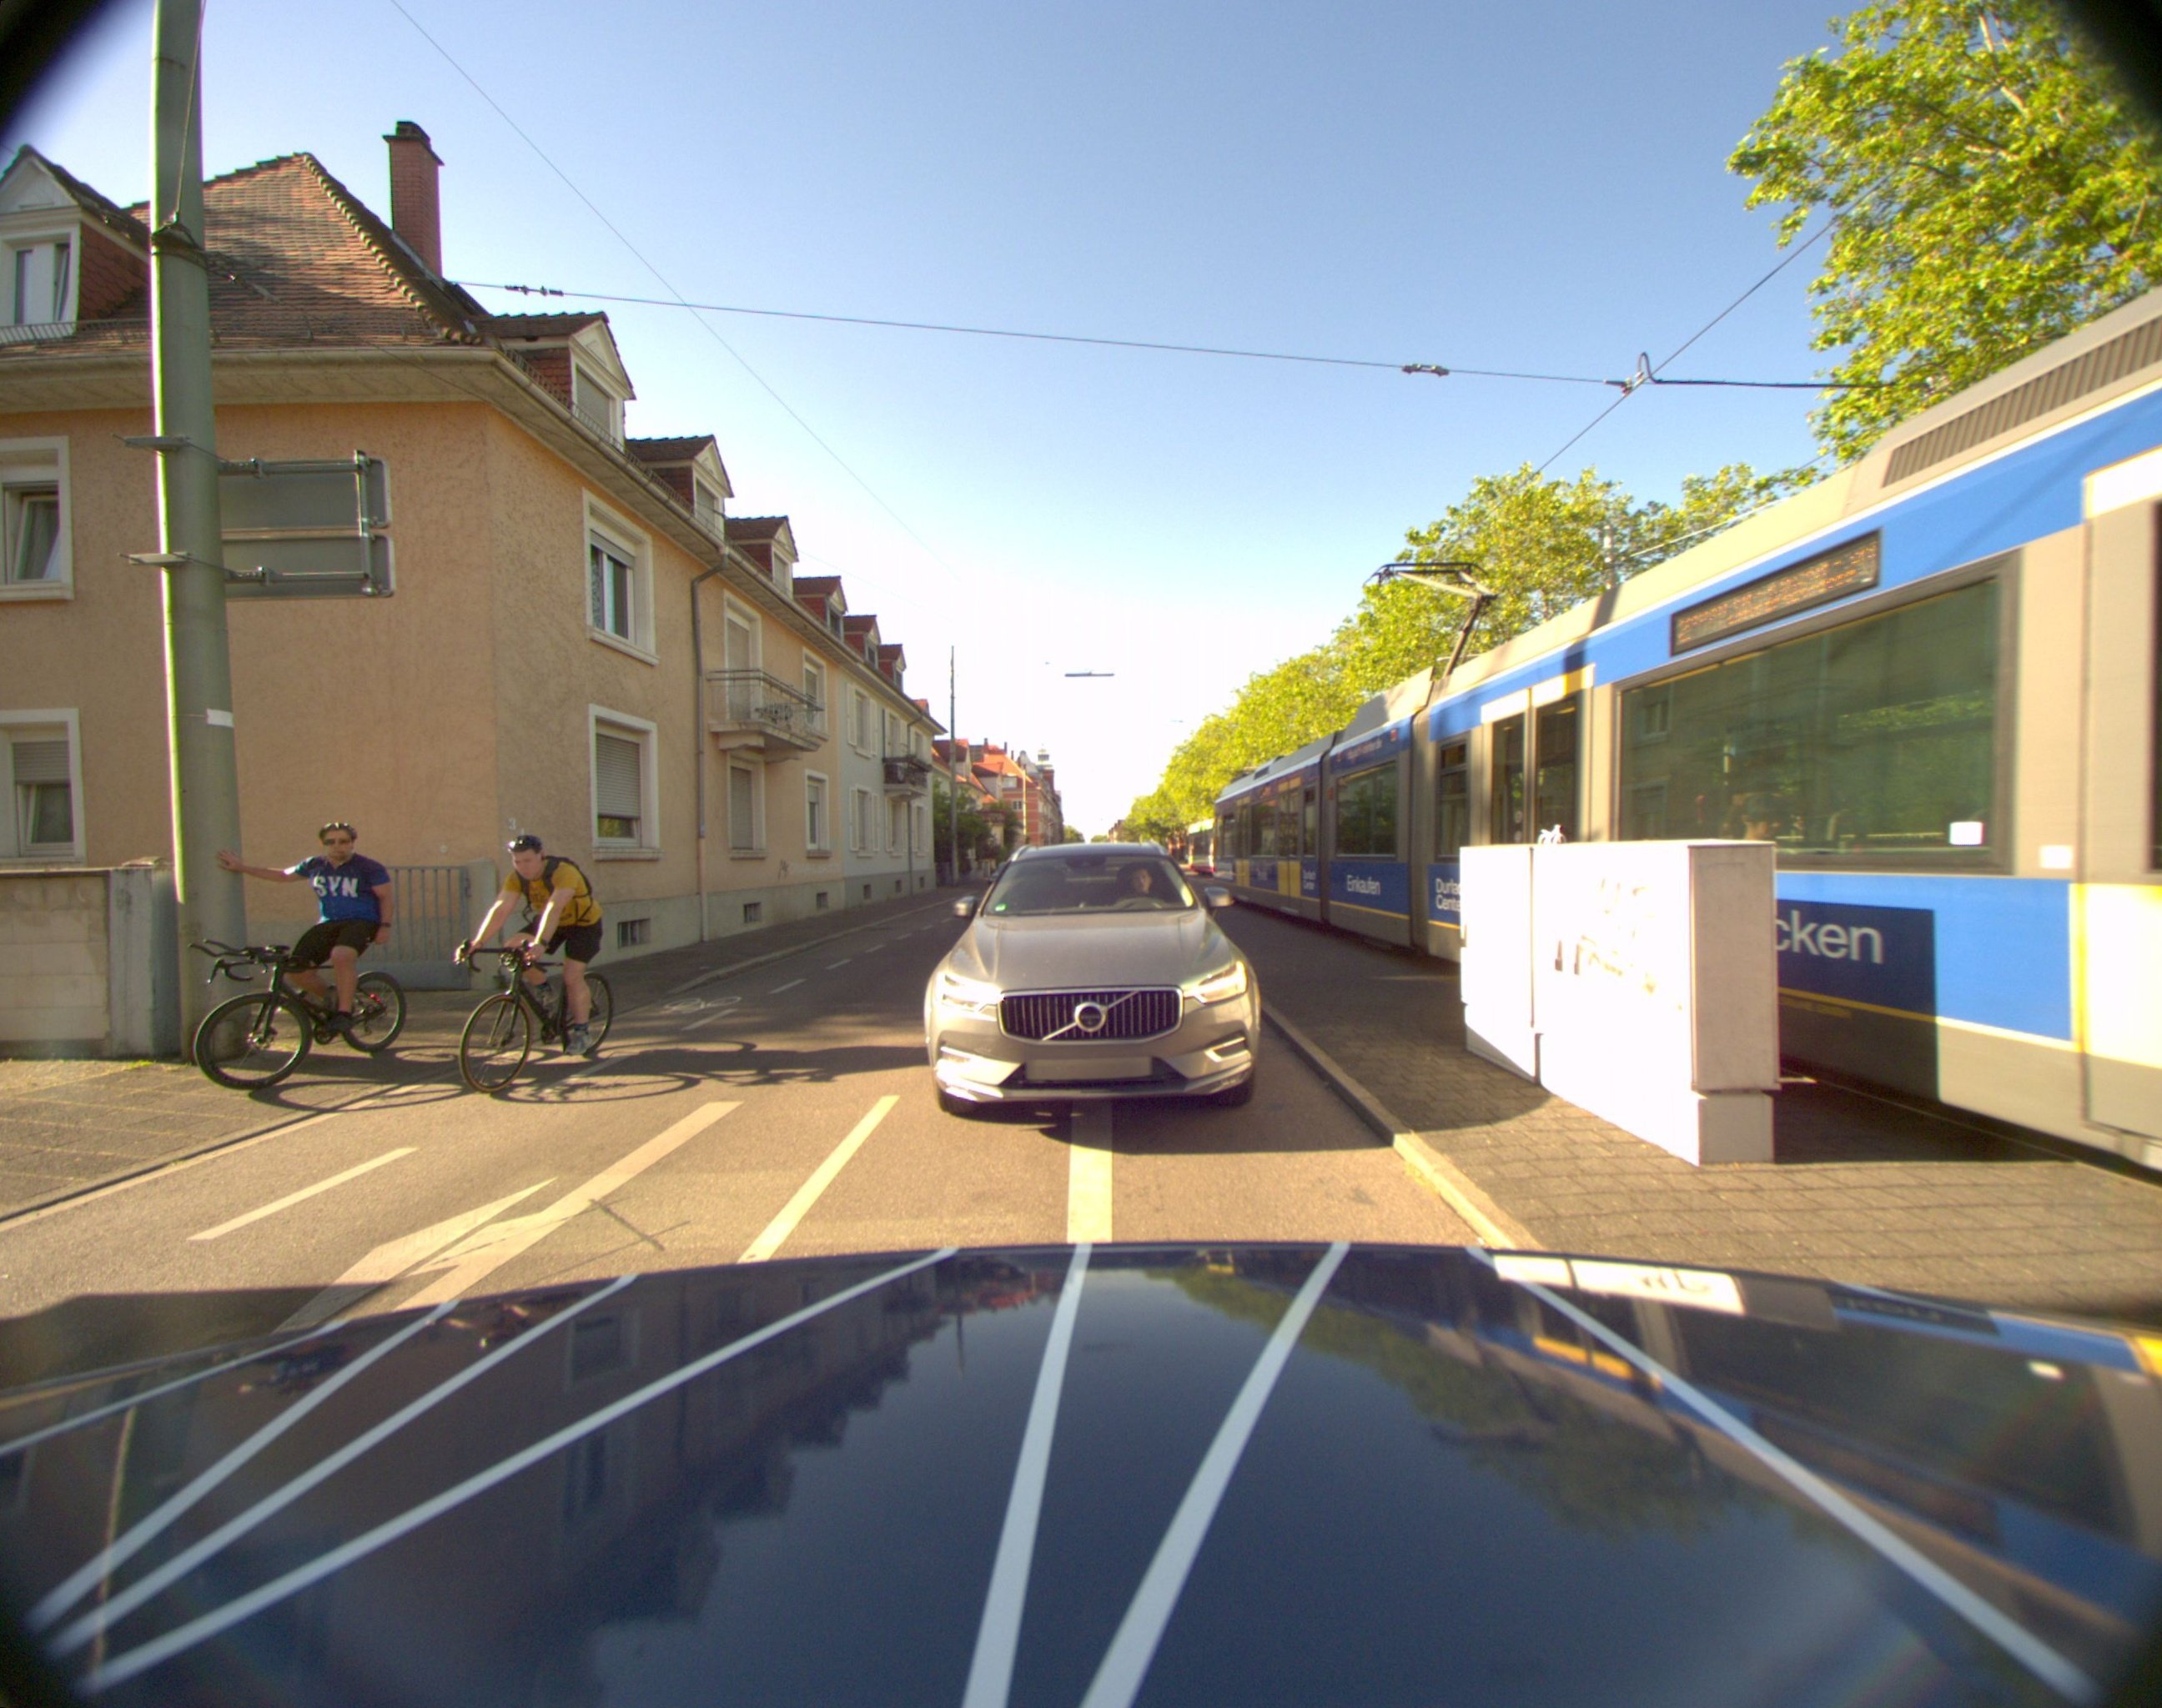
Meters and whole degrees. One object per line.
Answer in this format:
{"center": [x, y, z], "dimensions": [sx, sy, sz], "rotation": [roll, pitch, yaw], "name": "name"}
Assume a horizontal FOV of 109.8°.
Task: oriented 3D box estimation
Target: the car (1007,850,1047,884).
{"center": [-2.960, 0.684, 42.380], "dimensions": [1.847, 1.742, 4.144], "rotation": [-1, 0, 0], "name": "car"}

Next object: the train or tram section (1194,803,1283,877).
{"center": [8.380, -0.726, 41.786], "dimensions": [2.843, 3.456, 10.182], "rotation": [-2, 1, 1], "name": "train or tram section"}

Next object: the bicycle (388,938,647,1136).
{"center": [-4.207, 1.302, 5.881], "dimensions": [0.611, 1.081, 1.809], "rotation": [-1, 1, 1], "name": "bicycle"}

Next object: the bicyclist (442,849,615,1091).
{"center": [-4.216, 0.825, 5.872], "dimensions": [0.582, 1.712, 0.955], "rotation": [-1, 1, 1], "name": "bicyclist"}

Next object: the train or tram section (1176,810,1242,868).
{"center": [8.569, -0.973, 52.011], "dimensions": [2.843, 3.456, 10.182], "rotation": [-2, 1, 1], "name": "train or tram section"}

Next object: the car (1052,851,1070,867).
{"center": [-2.240, 0.549, 85.487], "dimensions": [1.999, 1.641, 4.658], "rotation": [-1, 0, -1], "name": "car"}

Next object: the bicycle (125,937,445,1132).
{"center": [-5.930, 1.276, 5.831], "dimensions": [0.594, 1.045, 1.719], "rotation": [4, 1, 1], "name": "bicycle"}

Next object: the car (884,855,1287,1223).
{"center": [0.004, 0.886, 5.790], "dimensions": [1.892, 1.695, 4.318], "rotation": [-1, 0, -1], "name": "car"}

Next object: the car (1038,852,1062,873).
{"center": [-2.671, 0.693, 65.772], "dimensions": [1.847, 1.681, 4.000], "rotation": [-1, 0, 0], "name": "car"}

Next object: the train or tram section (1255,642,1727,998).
{"center": [5.048, -0.333, 11.783], "dimensions": [2.821, 3.479, 8.462], "rotation": [-1, 0, 1], "name": "train or tram section"}

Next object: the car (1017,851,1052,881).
{"center": [-2.795, 0.702, 46.764], "dimensions": [1.847, 1.681, 4.000], "rotation": [-1, 0, 0], "name": "car"}

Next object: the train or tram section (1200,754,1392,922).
{"center": [5.150, -0.336, 19.968], "dimensions": [2.821, 3.479, 7.962], "rotation": [-1, 0, 1], "name": "train or tram section"}

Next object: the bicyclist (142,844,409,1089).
{"center": [-6.175, 0.811, 5.898], "dimensions": [1.071, 1.728, 0.853], "rotation": [-2, 1, 1], "name": "bicyclist"}

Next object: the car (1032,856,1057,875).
{"center": [-2.875, 0.858, 60.409], "dimensions": [1.808, 1.402, 3.999], "rotation": [-1, 0, -1], "name": "car"}

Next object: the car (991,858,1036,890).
{"center": [-3.226, 0.944, 36.979], "dimensions": [1.847, 1.412, 3.999], "rotation": [-1, 0, -1], "name": "car"}

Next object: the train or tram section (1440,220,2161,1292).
{"center": [4.881, -0.327, 1.606], "dimensions": [2.777, 3.479, 12.030], "rotation": [-1, 0, 1], "name": "train or tram section"}
